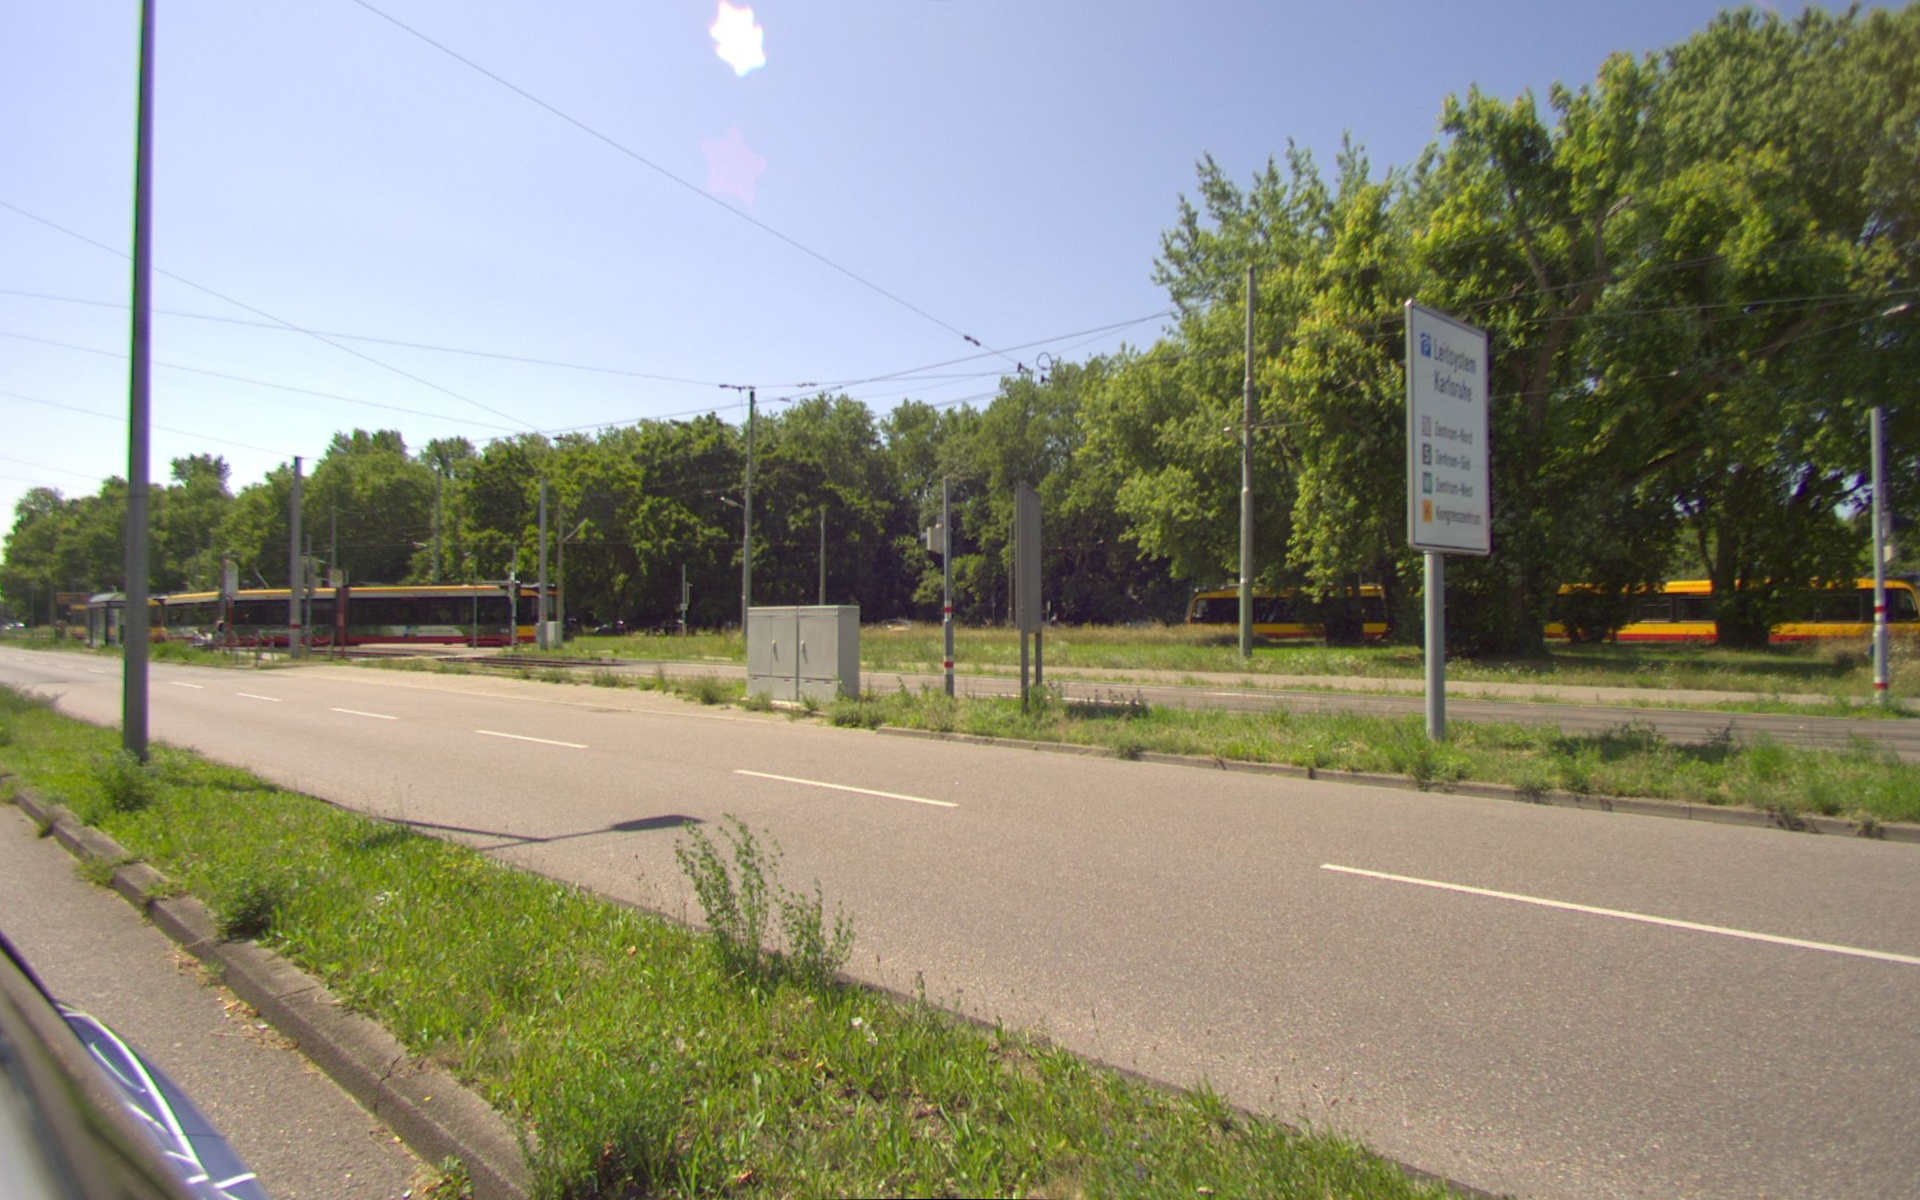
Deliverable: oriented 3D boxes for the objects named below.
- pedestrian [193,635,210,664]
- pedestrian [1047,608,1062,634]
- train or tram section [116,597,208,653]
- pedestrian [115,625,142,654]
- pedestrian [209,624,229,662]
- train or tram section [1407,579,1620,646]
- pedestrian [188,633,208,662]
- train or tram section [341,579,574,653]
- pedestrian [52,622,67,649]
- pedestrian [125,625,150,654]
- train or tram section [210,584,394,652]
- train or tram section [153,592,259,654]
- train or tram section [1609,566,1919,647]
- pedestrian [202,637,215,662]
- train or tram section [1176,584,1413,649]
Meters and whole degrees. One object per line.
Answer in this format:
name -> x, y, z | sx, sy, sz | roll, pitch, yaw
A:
pedestrian -> -32.768, 2.135, 43.707 | 0.400, 1.198, 0.489 | -2, -1, 42
pedestrian -> 5.907, 1.322, 63.353 | 0.778, 1.586, 0.692 | -1, 0, -6
train or tram section -> -59.488, 1.862, 75.246 | 13.255, 3.795, 3.012 | -2, 0, 41
pedestrian -> -44.676, 2.117, 54.384 | 0.984, 1.558, 0.921 | -2, 0, 39
pedestrian -> -31.857, 1.846, 43.497 | 0.582, 1.577, 0.529 | -2, -1, 39
train or tram section -> 30.832, 0.770, 56.920 | 10.180, 3.492, 3.016 | -2, 0, 29
pedestrian -> -33.180, 2.060, 44.082 | 0.536, 1.198, 0.575 | -2, -1, 40
train or tram section -> -27.536, 0.894, 55.431 | 12.329, 3.652, 3.041 | -2, 0, 14
pedestrian -> -60.704, 2.407, 68.228 | 0.775, 1.804, 0.625 | -2, -1, 39
pedestrian -> -43.821, 2.085, 53.910 | 0.878, 1.519, 0.826 | -2, 0, 39
train or tram section -> -38.611, 1.102, 59.203 | 12.383, 3.652, 3.027 | -2, 0, 26
train or tram section -> -49.431, 1.496, 66.082 | 13.896, 3.652, 3.011 | -2, 0, 43
train or tram section -> 39.006, 0.348, 48.751 | 2.996, 3.492, 12.780 | -1, 0, -36
pedestrian -> -32.393, 2.125, 43.624 | 0.377, 1.066, 0.379 | -2, -1, 39
train or tram section -> 19.829, 1.007, 60.952 | 13.123, 3.492, 3.036 | -2, 0, 11
